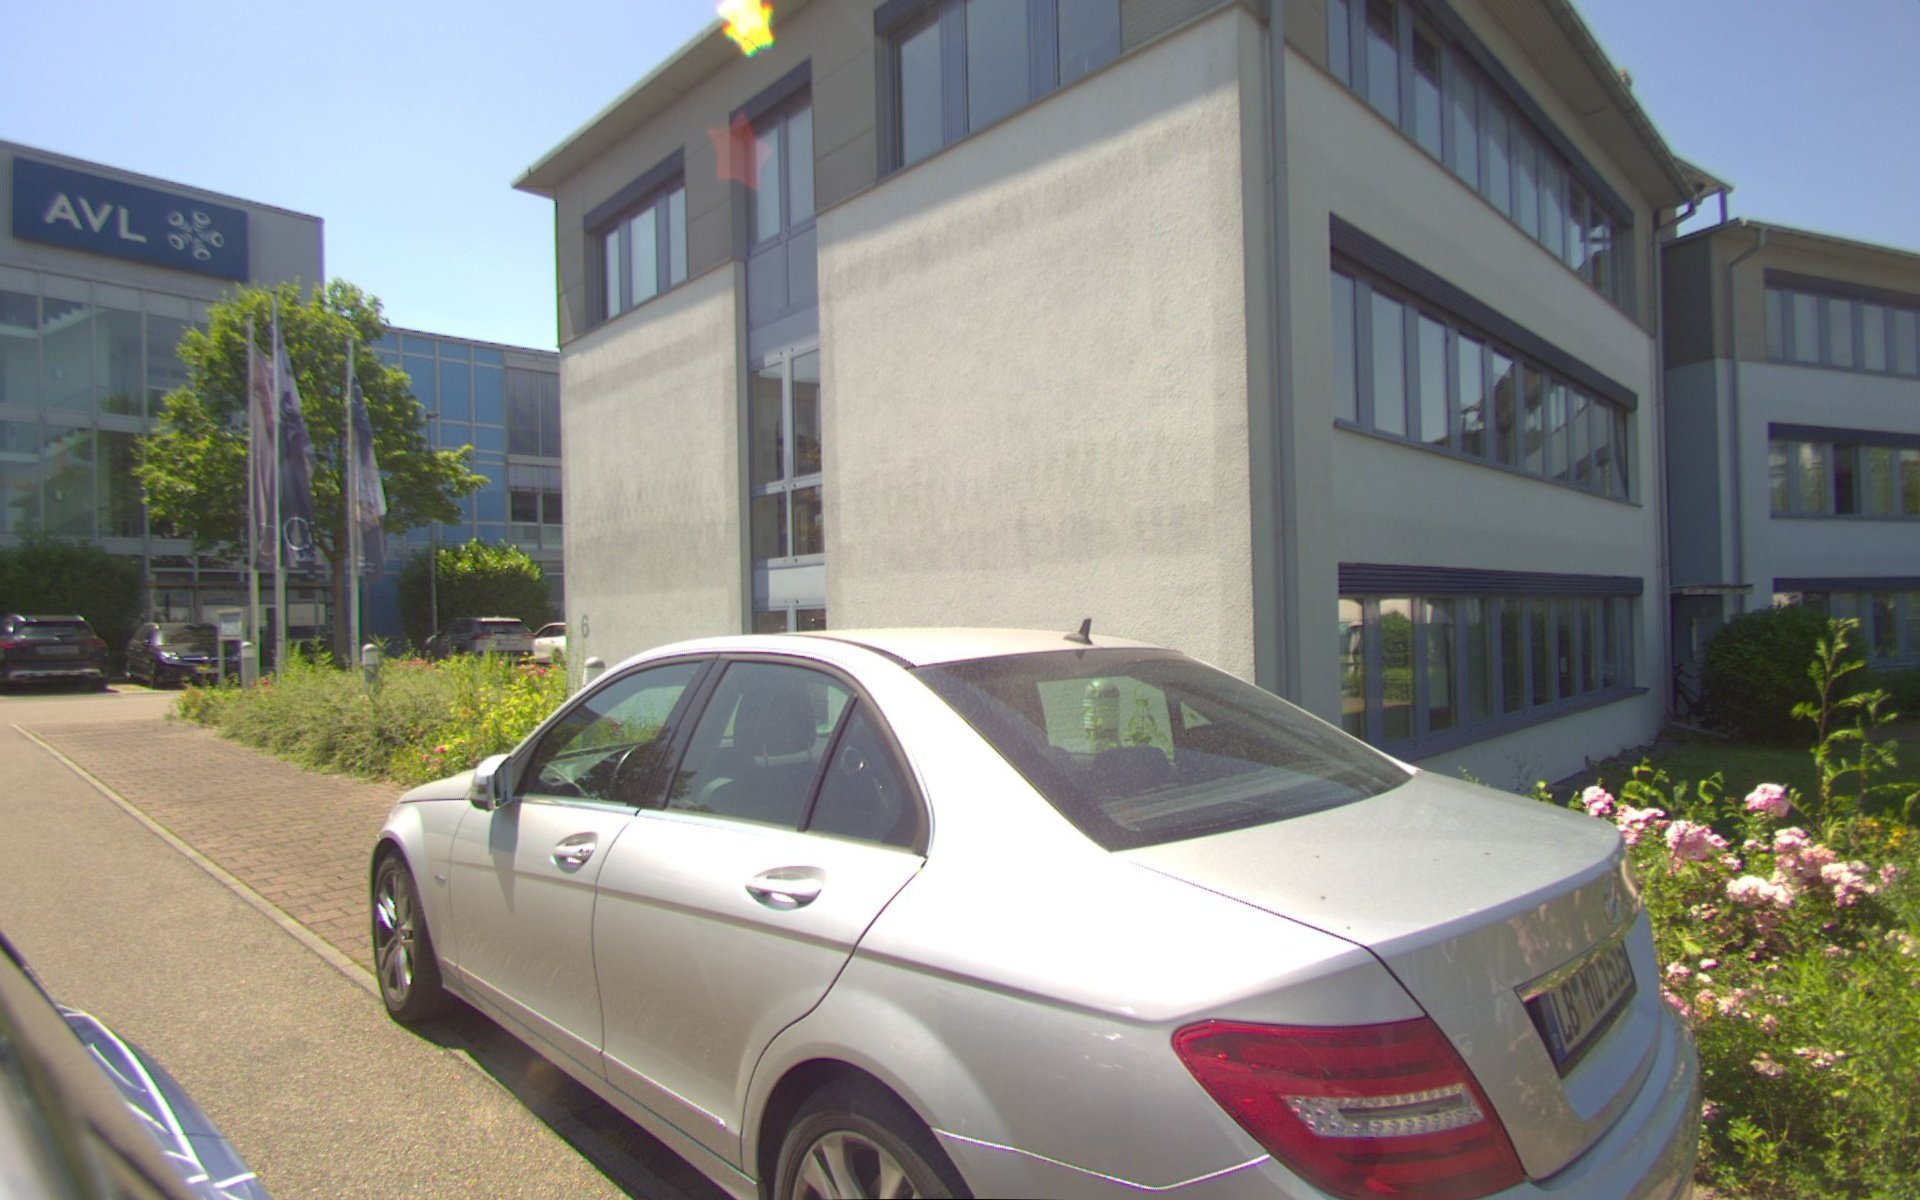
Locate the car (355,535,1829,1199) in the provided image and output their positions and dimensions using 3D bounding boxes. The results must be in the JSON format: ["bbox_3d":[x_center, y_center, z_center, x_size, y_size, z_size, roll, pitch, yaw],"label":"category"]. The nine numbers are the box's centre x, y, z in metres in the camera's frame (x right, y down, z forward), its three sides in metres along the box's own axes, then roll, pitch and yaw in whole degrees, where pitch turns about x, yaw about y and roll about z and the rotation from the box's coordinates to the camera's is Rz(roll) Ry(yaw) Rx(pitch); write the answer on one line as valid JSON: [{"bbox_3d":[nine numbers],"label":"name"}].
[{"bbox_3d":[-0.242,0.731,2.998,1.709,1.468,4.150,2,-2,-45],"label":"car"}]

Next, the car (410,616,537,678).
[{"bbox_3d":[-13.971,1.295,28.960,4.170,1.650,1.808,-1,-2,42],"label":"car"}]

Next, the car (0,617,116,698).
[{"bbox_3d":[-20.109,1.200,22.107,3.857,1.615,1.914,-1,-2,41],"label":"car"}]

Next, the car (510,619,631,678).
[{"bbox_3d":[-11.796,1.422,30.523,4.172,1.650,1.807,-2,-2,44],"label":"car"}]

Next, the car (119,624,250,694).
[{"bbox_3d":[-18.475,1.331,24.045,4.396,1.495,1.707,-2,-2,42],"label":"car"}]
